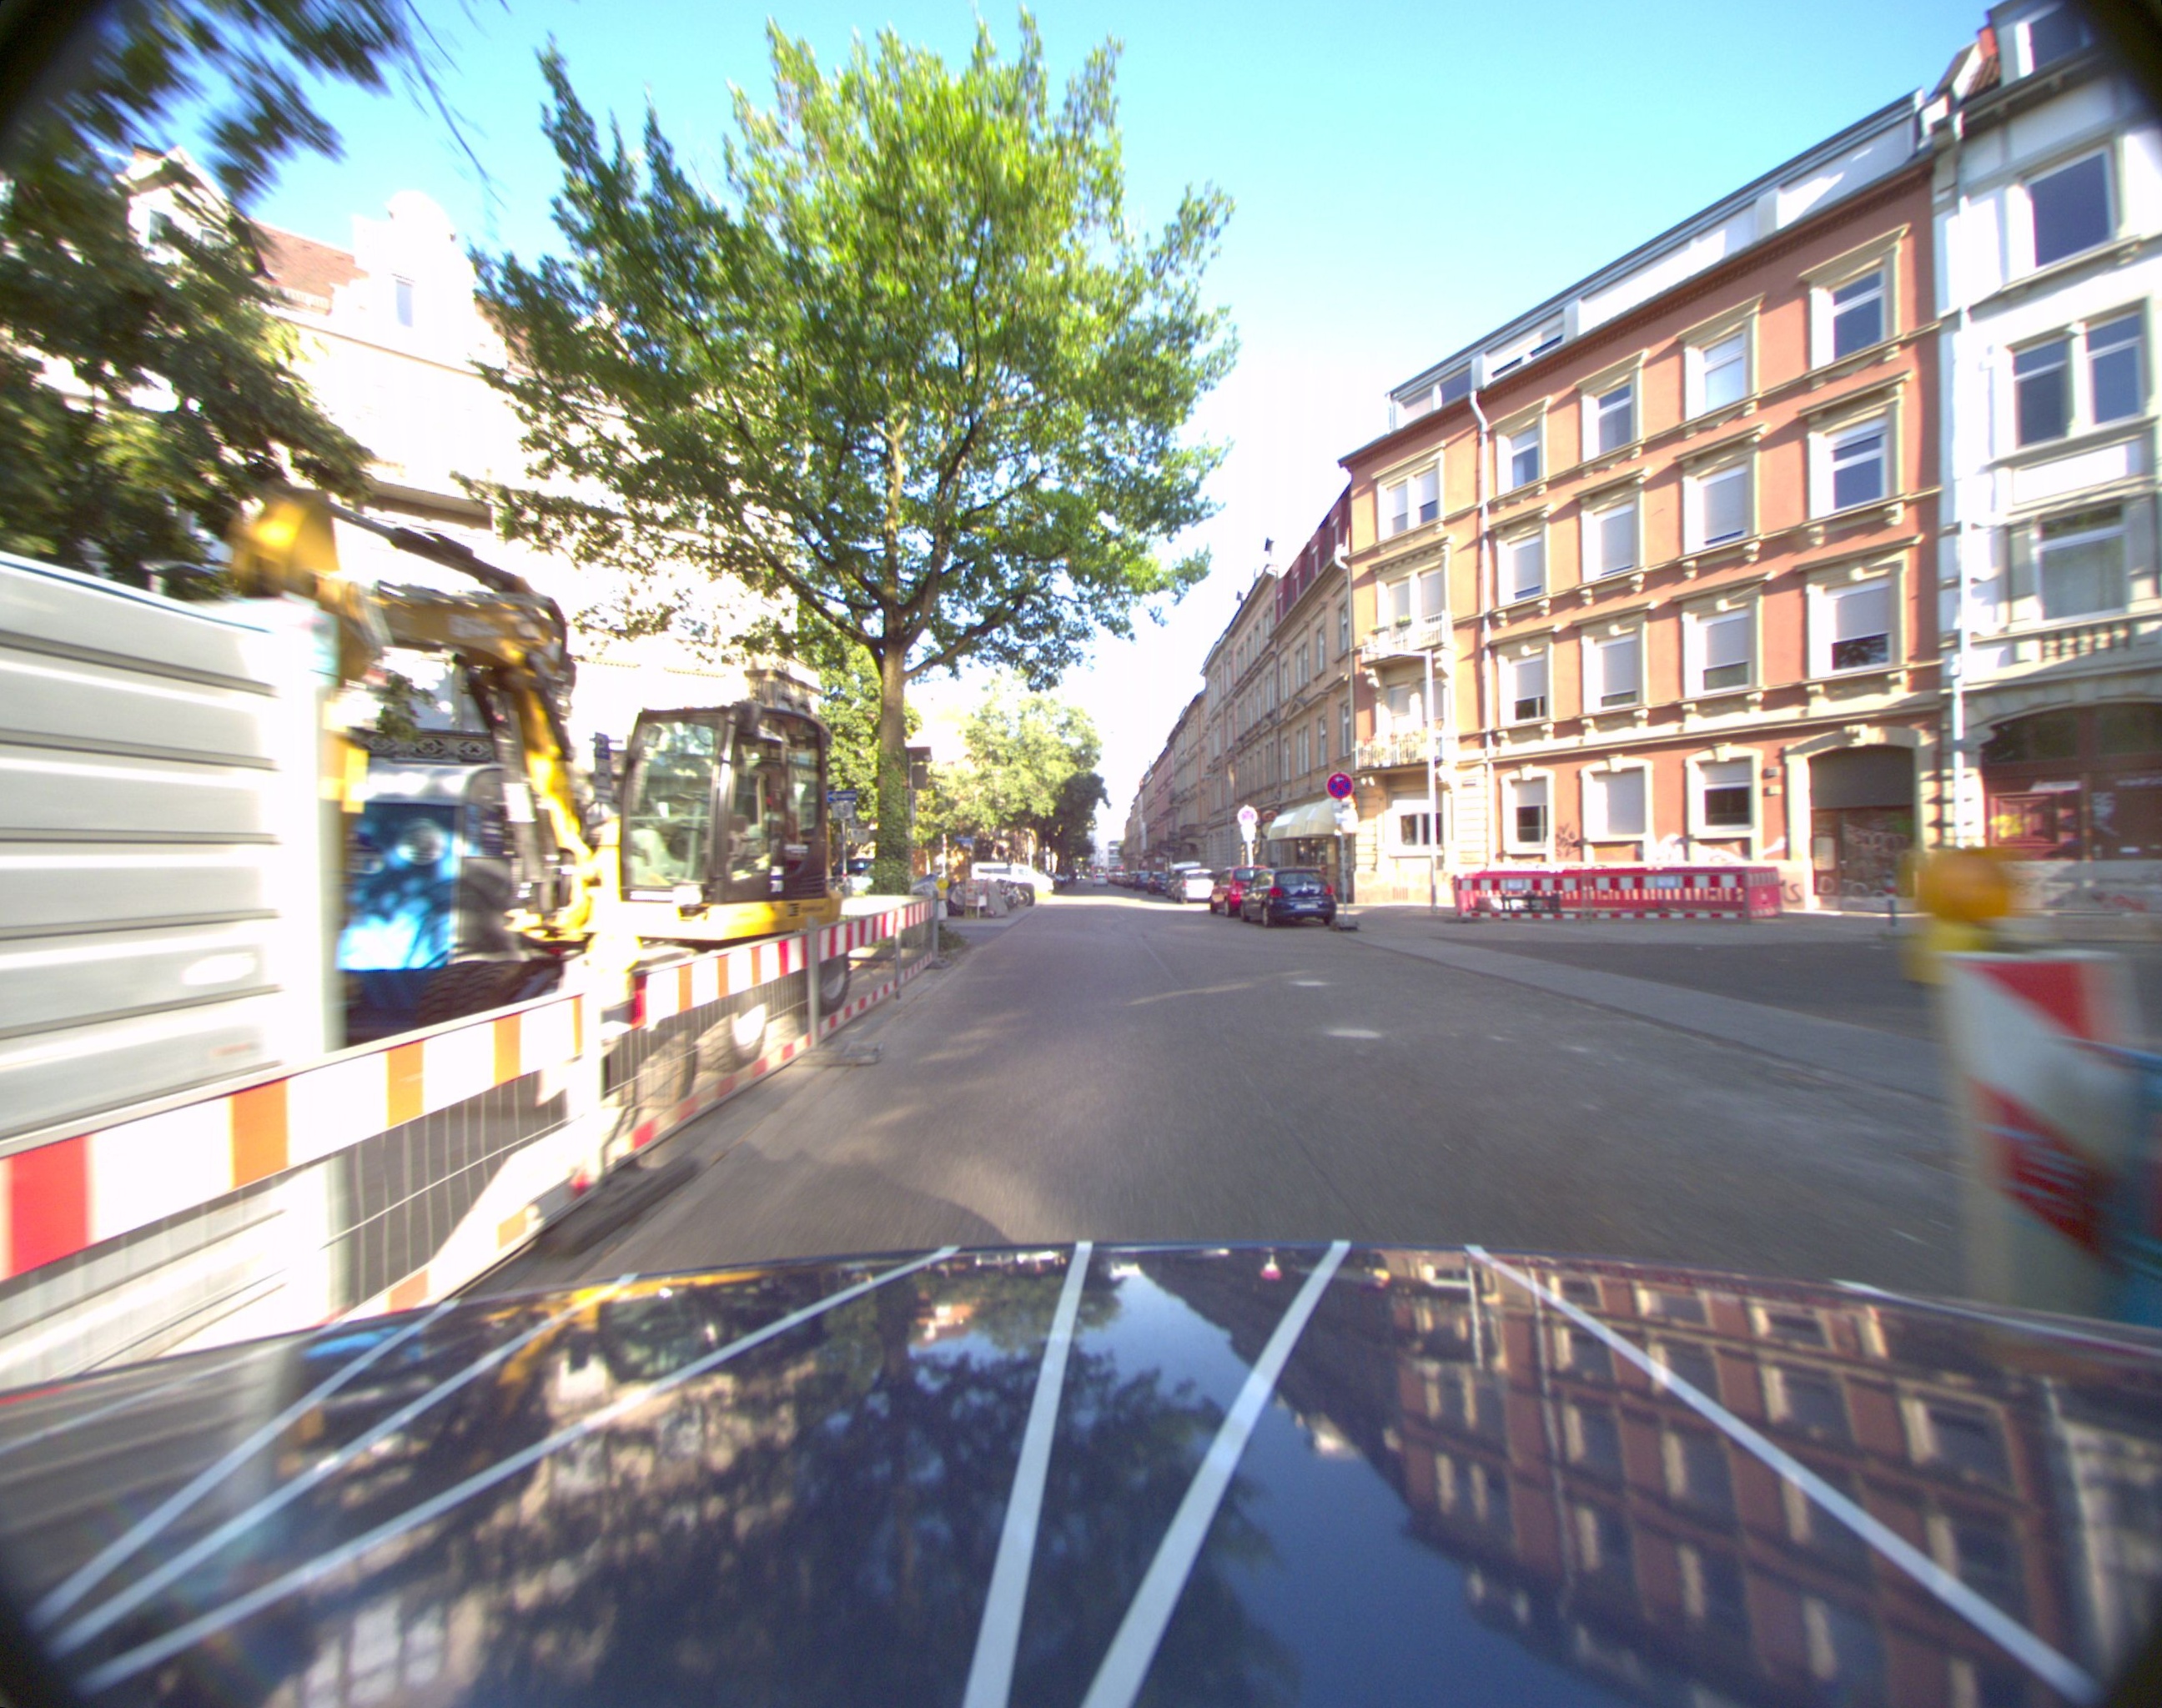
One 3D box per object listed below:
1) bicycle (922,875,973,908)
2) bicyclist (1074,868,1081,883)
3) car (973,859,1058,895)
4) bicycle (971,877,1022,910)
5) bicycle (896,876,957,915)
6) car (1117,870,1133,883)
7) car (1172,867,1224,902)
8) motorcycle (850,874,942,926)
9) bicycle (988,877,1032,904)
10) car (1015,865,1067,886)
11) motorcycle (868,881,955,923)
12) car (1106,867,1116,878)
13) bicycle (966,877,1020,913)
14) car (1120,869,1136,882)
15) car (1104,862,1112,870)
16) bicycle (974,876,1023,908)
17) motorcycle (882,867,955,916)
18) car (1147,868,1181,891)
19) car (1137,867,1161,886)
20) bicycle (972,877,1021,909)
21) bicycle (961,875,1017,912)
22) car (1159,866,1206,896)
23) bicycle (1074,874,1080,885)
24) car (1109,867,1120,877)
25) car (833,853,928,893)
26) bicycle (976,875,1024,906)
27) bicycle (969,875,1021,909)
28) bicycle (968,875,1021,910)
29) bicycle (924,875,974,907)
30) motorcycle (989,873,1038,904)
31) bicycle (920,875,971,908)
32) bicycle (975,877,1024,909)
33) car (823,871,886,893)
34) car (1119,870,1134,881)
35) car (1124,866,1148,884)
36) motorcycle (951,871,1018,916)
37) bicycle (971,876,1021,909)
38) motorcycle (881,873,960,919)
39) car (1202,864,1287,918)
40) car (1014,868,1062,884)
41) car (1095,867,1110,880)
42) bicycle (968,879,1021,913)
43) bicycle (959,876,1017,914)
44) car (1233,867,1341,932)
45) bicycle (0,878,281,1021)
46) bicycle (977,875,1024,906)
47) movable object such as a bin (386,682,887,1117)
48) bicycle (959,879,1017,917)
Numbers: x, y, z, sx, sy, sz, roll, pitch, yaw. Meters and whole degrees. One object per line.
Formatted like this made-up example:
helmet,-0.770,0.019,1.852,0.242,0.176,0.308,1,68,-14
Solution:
bicycle,-5.338,1.487,30.394,1.930,1.238,0.479,-1,-1,-5
bicyclist,-0.415,2.535,89.665,0.712,1.864,1.120,0,-1,1
car,-3.958,1.389,46.479,4.986,2.083,2.106,-1,-1,0
bicycle,-3.302,1.554,29.751,1.930,1.238,0.303,-1,-1,-5
bicycle,-5.207,1.390,25.697,1.930,1.238,0.479,-1,-1,-5
car,4.929,2.561,86.018,1.586,1.464,4.001,-1,-1,0
car,5.181,1.327,34.150,1.729,1.428,3.997,-3,-1,1
motorcycle,-5.098,1.263,21.095,2.372,1.333,0.940,-1,0,-9
bicycle,-3.033,1.557,32.627,1.822,1.121,0.443,1,-1,-1
car,-4.040,2.132,76.994,5.104,1.929,2.157,-1,3,1
motorcycle,-4.980,1.415,22.401,2.286,1.173,0.972,-1,0,13
car,6.241,3.842,157.246,1.947,2.044,4.746,-2,-1,1
bicycle,-3.196,1.500,27.769,1.930,1.238,0.303,-1,-1,-5
car,5.606,2.539,90.281,1.709,1.430,3.960,-1,-1,1
car,6.377,2.809,178.021,1.868,1.619,3.826,-2,-1,2
bicycle,-3.313,1.548,30.726,1.930,1.238,0.303,-1,-1,-5
motorcycle,-5.393,1.233,25.317,2.289,1.522,0.755,-1,0,-5
car,5.341,1.623,49.358,1.708,1.445,4.020,-1,-1,-1
car,5.644,1.886,63.627,1.746,1.557,3.896,-1,-1,1
bicycle,-3.371,1.556,30.411,1.930,1.238,0.303,-1,-1,-5
bicycle,-3.225,1.395,26.821,1.930,1.239,0.303,-1,0,-5
car,5.215,1.357,39.525,1.769,1.428,4.301,-1,-1,-1
bicycle,-0.428,3.030,89.610,0.712,1.252,1.888,0,-1,1
car,6.127,3.337,139.951,1.847,1.822,4.607,-2,-1,-1
car,-13.487,1.264,51.471,5.912,2.522,2.379,-1,-1,-5
bicycle,-3.345,1.491,31.364,1.930,1.238,0.303,-1,-1,-5
bicycle,-3.290,1.438,29.056,1.930,1.238,0.303,-1,-1,-5
bicycle,-3.198,1.428,28.104,1.911,1.238,0.303,-1,-1,-5
bicycle,-5.365,1.499,30.906,1.930,1.238,0.479,-1,-1,-5
motorcycle,-2.938,1.496,33.315,2.028,1.277,0.904,1,-1,-1
bicycle,-5.314,1.474,29.840,1.930,1.238,0.479,-1,-1,-5
bicycle,-3.334,1.588,31.055,1.930,1.238,0.303,-1,-1,-5
car,-16.659,2.076,56.060,4.066,1.501,1.863,-1,-1,-3
car,5.622,2.702,94.799,1.709,1.315,4.102,-1,-1,1
car,5.381,2.080,74.852,1.652,1.564,4.049,-4,-1,-4
motorcycle,-3.121,1.280,24.665,1.933,1.404,0.943,-2,-1,28
bicycle,-3.339,1.534,30.076,1.930,1.238,0.303,-1,-1,-5
motorcycle,-4.933,1.292,23.348,2.286,1.333,0.657,-1,0,12
car,5.061,1.087,23.974,1.674,1.521,4.000,-1,-1,-2
car,-4.021,2.083,71.845,4.380,1.447,1.934,0,-1,1
car,2.503,2.281,89.020,1.753,1.500,4.001,-1,-1,1
bicycle,-3.244,1.575,28.490,1.930,1.238,0.303,-1,-1,-5
bicycle,-3.196,1.416,26.162,1.930,1.238,0.303,-1,-1,-5
car,5.146,1.083,19.520,1.673,1.449,4.000,-1,-1,0
bicycle,-9.836,0.891,7.903,1.027,1.277,2.145,0,-1,-12
bicycle,-3.366,1.517,31.863,1.930,1.238,0.648,-1,-1,-5
movable object such as a bin,-3.337,0.310,6.427,1.996,2.683,3.114,-1,0,14
bicycle,-3.165,1.481,25.839,1.930,1.238,0.303,-1,-1,-5
